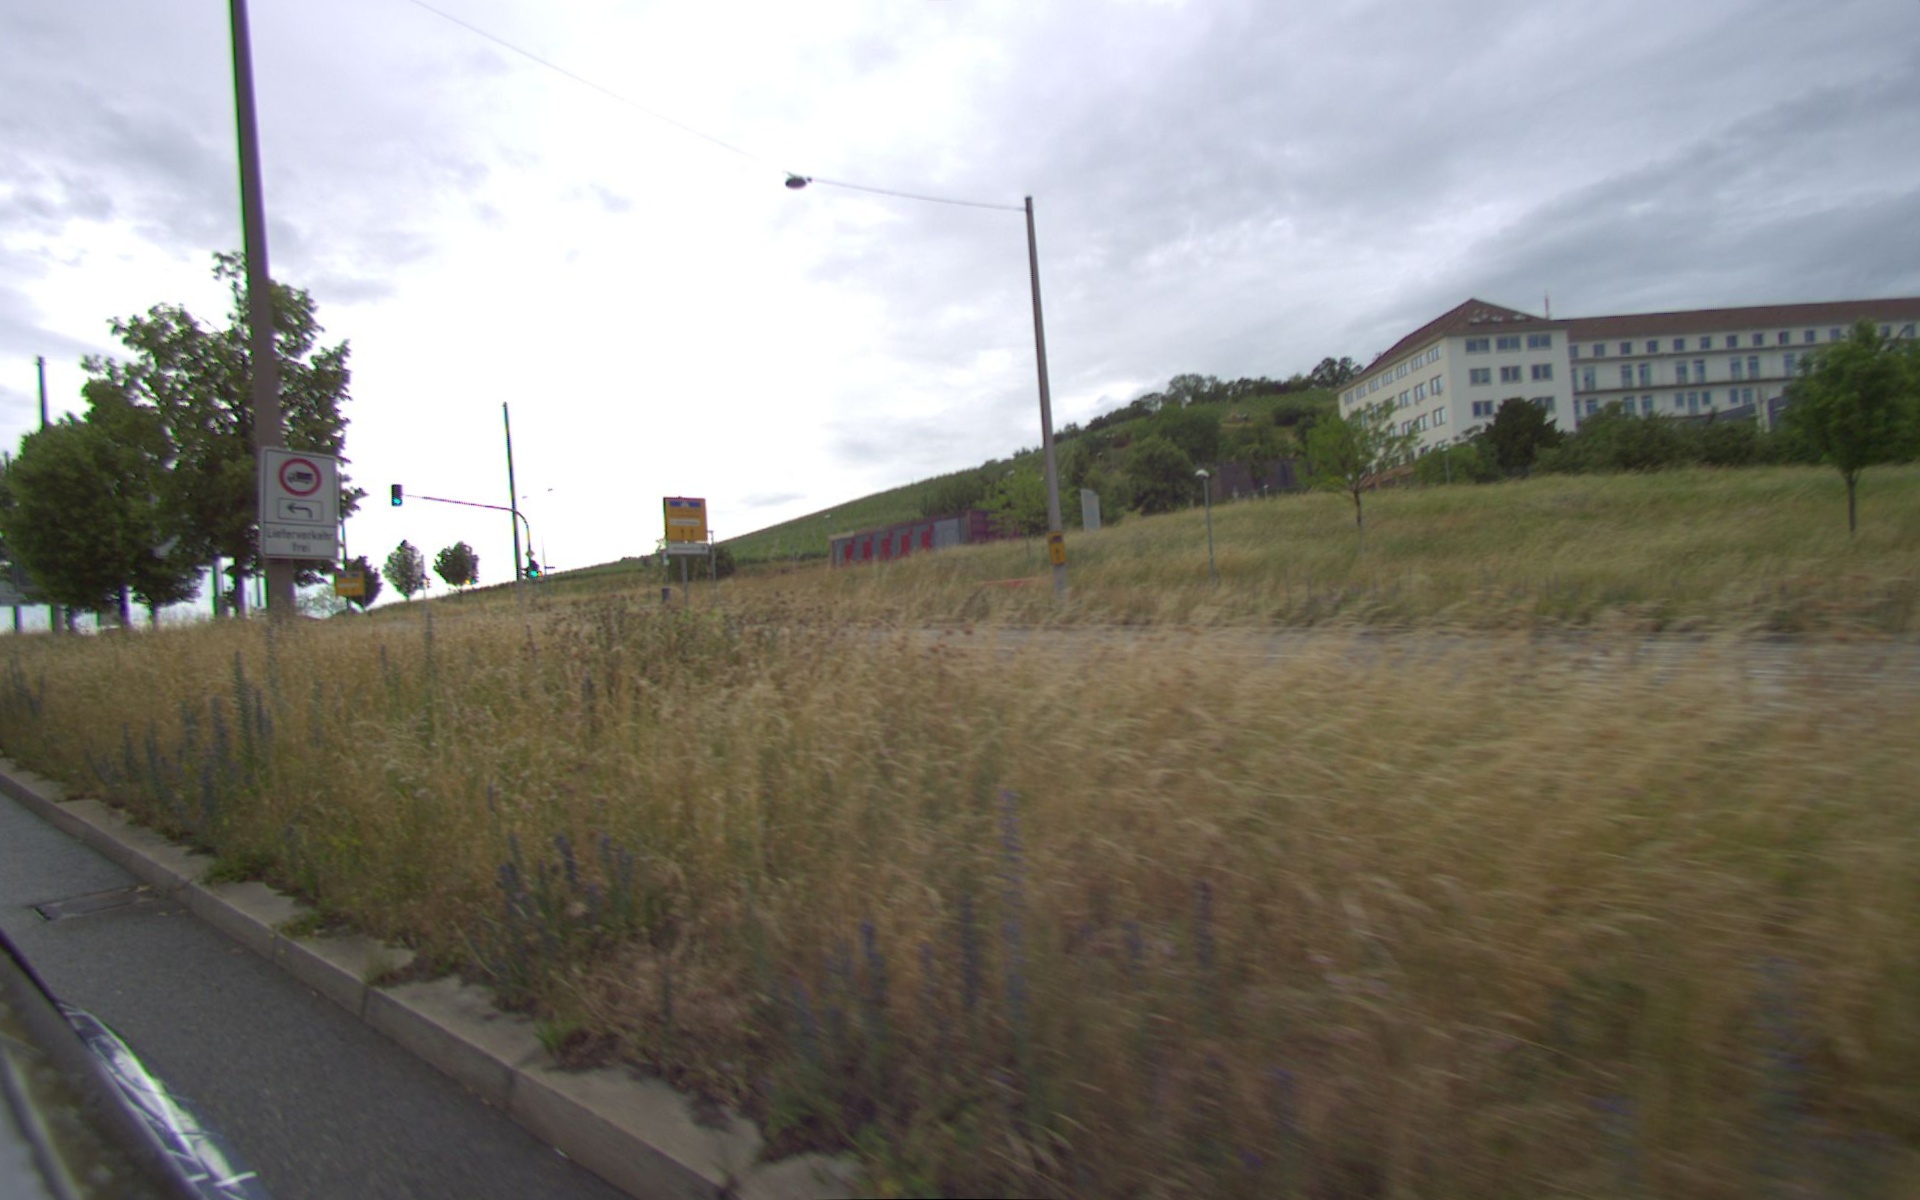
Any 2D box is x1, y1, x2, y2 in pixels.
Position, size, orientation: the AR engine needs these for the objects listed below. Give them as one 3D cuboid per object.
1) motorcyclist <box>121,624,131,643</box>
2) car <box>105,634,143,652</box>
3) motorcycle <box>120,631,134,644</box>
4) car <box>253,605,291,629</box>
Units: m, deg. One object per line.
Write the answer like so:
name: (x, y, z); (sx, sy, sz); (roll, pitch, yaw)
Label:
motorcyclist: (-74.517, 2.980, 90.422); (0.643, 1.608, 0.576); (-4, -1, 43)
car: (-81.337, 4.121, 98.477); (1.517, 1.515, 3.673); (-2, 1, -17)
motorcycle: (-74.287, 3.322, 90.220); (2.502, 1.058, 0.610); (-4, -1, 43)
car: (-44.064, 1.072, 64.776); (1.520, 1.399, 3.933); (-3, 1, -41)
